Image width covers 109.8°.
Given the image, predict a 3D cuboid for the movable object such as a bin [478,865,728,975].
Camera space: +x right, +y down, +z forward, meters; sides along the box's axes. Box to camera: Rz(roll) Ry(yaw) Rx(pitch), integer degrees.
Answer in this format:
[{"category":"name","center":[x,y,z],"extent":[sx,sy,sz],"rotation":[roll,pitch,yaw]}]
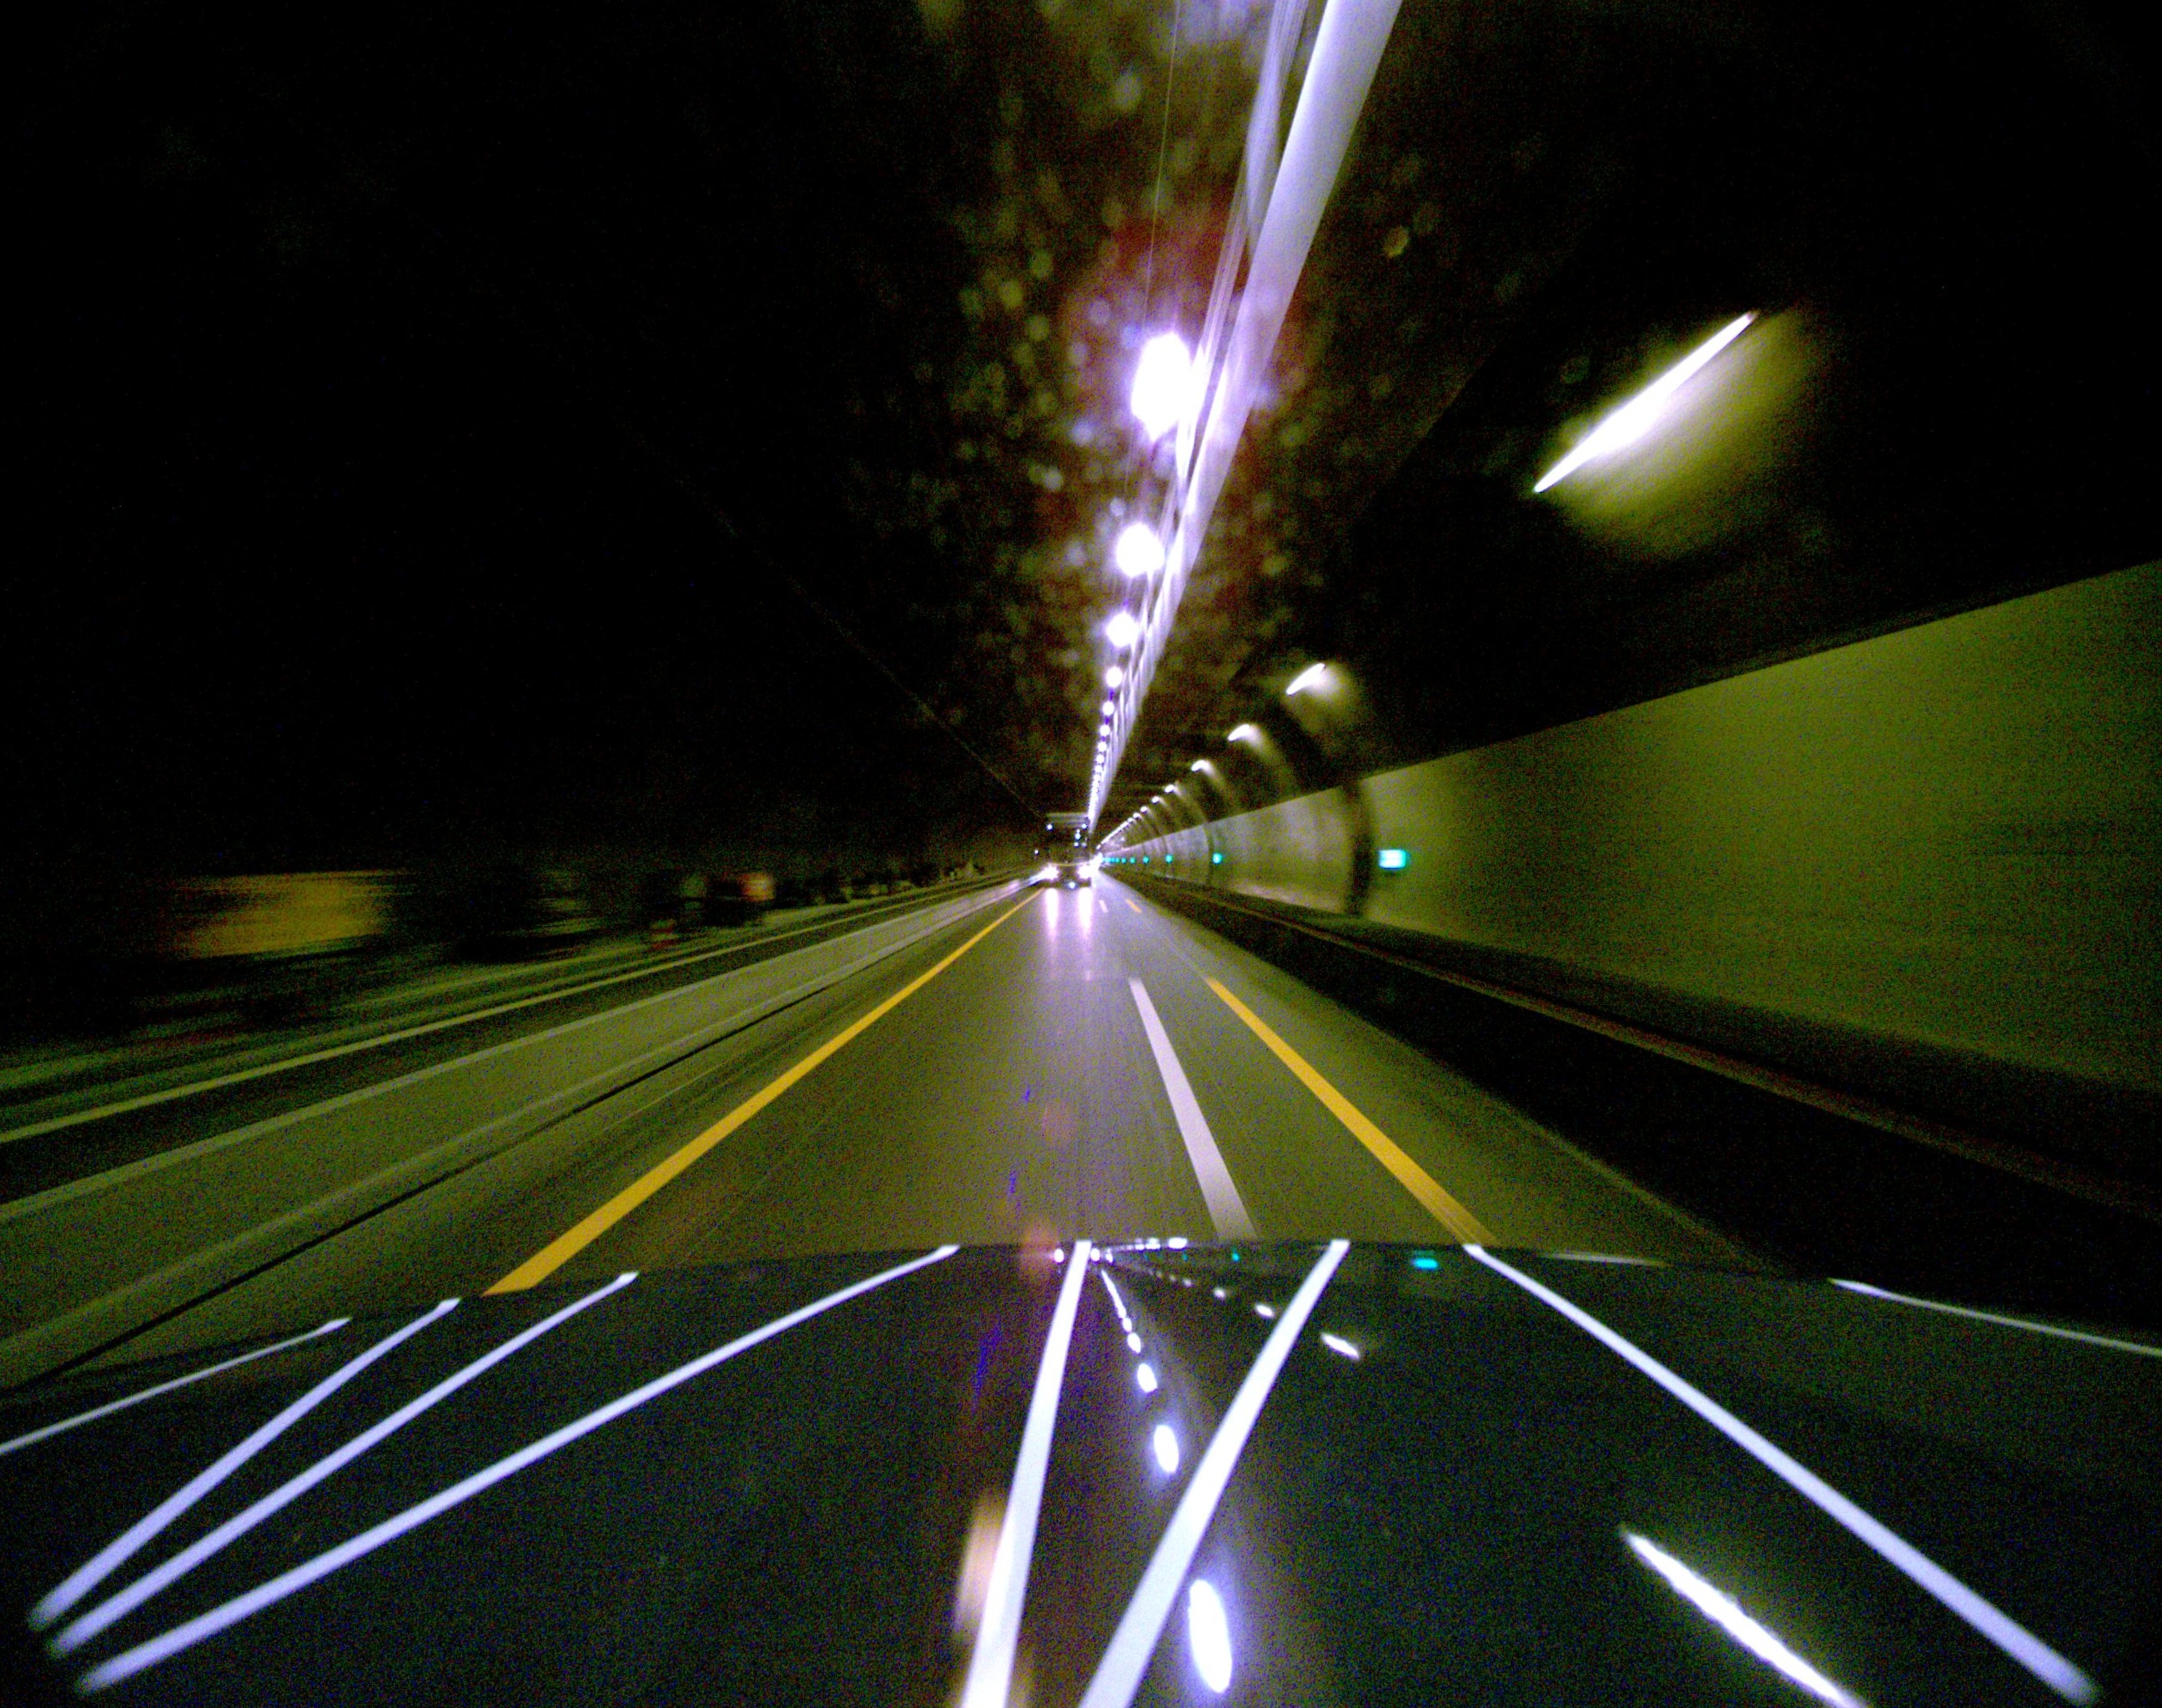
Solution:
[{"category":"movable object such as a bin","center":[-8.694,1.097,14.413],"extent":[1.865,1.665,4.502],"rotation":[1,0,0]}]

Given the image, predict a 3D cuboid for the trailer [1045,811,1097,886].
[{"category":"trailer","center":[-0.521,-0.383,50.212],"extent":[2.939,4.316,10.051],"rotation":[-2,1,1]}]

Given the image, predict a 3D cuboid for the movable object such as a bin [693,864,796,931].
[{"category":"movable object such as a bin","center":[-8.766,1.081,20.003],"extent":[1.306,1.584,3.055],"rotation":[1,0,0]}]

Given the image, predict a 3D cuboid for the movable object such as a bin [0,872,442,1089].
[{"category":"movable object such as a bin","center":[-8.830,1.120,7.974],"extent":[1.560,1.699,3.054],"rotation":[-2,1,0]}]

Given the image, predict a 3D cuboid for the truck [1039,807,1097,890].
[{"category":"truck","center":[-0.629,-0.336,44.131],"extent":[2.951,4.338,6.675],"rotation":[-2,1,1]}]
